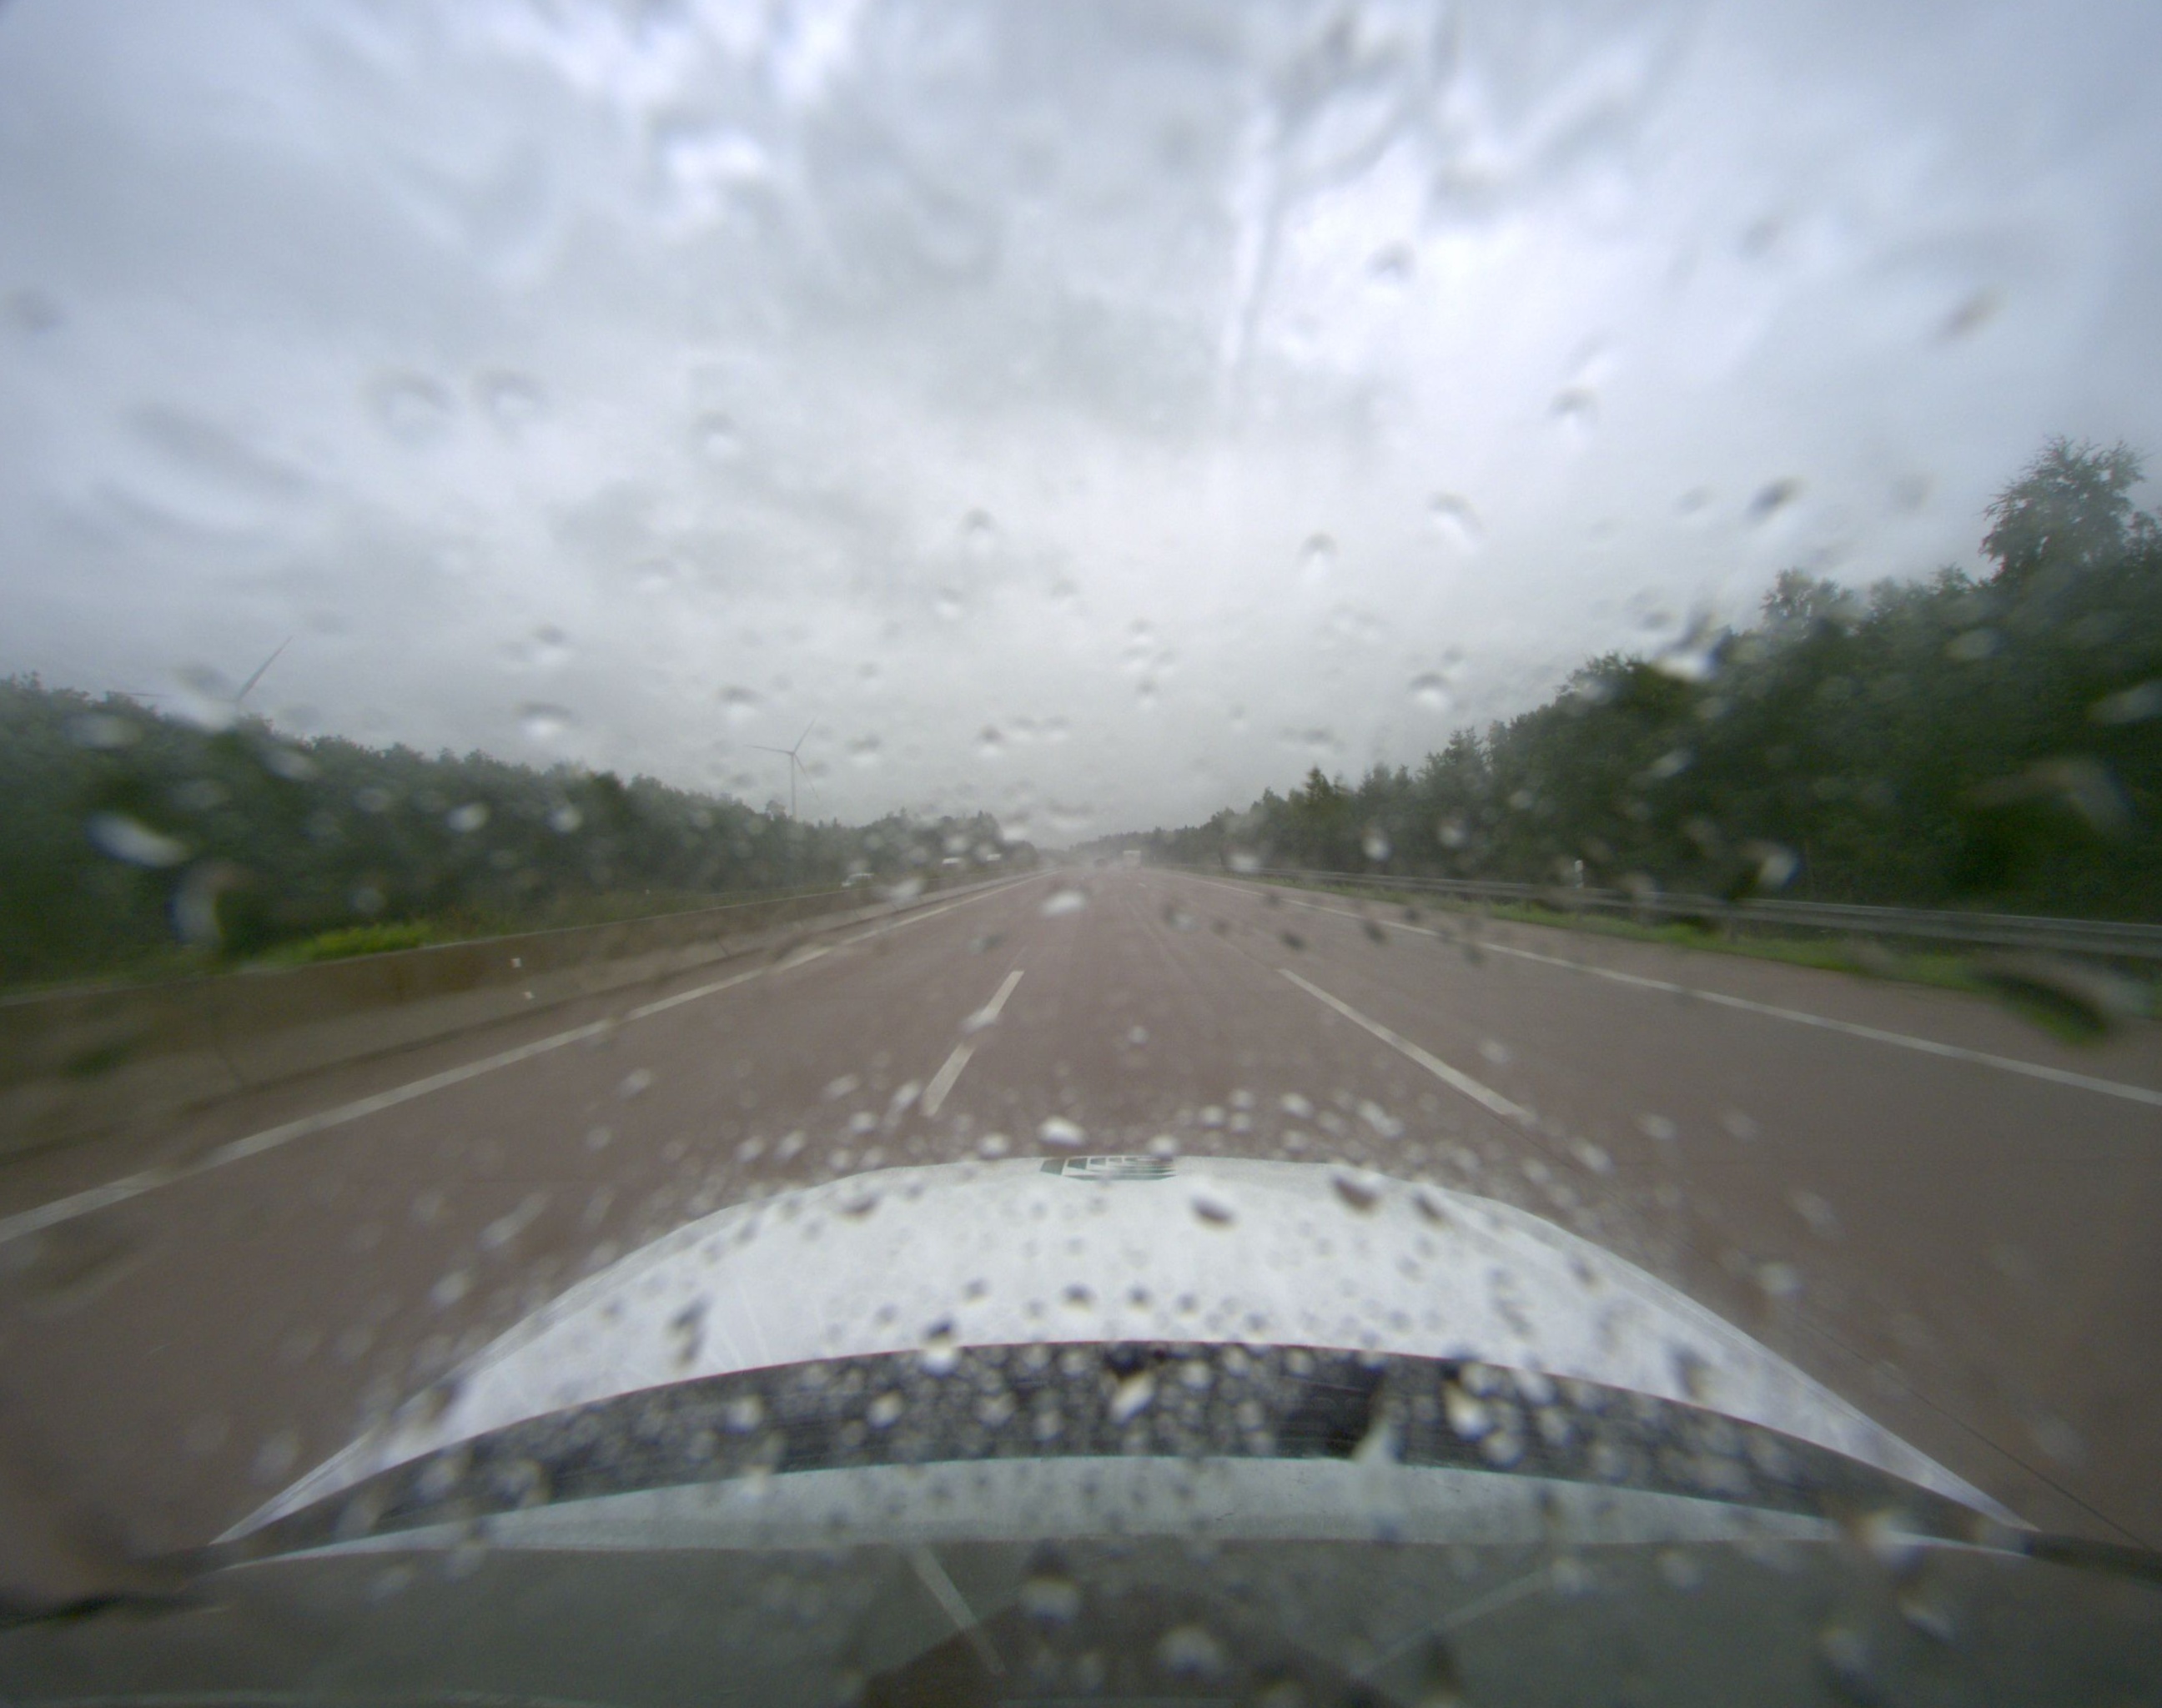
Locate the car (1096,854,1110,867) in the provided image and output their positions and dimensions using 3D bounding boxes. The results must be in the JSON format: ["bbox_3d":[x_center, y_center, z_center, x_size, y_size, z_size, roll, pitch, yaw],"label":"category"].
[{"bbox_3d":[3.085,0.903,113.727,1.930,1.729,4.132,-1,0,2],"label":"car"}]

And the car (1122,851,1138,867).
[{"bbox_3d":[6.472,0.622,107.820,2.050,2.000,4.100,1,0,2],"label":"car"}]
